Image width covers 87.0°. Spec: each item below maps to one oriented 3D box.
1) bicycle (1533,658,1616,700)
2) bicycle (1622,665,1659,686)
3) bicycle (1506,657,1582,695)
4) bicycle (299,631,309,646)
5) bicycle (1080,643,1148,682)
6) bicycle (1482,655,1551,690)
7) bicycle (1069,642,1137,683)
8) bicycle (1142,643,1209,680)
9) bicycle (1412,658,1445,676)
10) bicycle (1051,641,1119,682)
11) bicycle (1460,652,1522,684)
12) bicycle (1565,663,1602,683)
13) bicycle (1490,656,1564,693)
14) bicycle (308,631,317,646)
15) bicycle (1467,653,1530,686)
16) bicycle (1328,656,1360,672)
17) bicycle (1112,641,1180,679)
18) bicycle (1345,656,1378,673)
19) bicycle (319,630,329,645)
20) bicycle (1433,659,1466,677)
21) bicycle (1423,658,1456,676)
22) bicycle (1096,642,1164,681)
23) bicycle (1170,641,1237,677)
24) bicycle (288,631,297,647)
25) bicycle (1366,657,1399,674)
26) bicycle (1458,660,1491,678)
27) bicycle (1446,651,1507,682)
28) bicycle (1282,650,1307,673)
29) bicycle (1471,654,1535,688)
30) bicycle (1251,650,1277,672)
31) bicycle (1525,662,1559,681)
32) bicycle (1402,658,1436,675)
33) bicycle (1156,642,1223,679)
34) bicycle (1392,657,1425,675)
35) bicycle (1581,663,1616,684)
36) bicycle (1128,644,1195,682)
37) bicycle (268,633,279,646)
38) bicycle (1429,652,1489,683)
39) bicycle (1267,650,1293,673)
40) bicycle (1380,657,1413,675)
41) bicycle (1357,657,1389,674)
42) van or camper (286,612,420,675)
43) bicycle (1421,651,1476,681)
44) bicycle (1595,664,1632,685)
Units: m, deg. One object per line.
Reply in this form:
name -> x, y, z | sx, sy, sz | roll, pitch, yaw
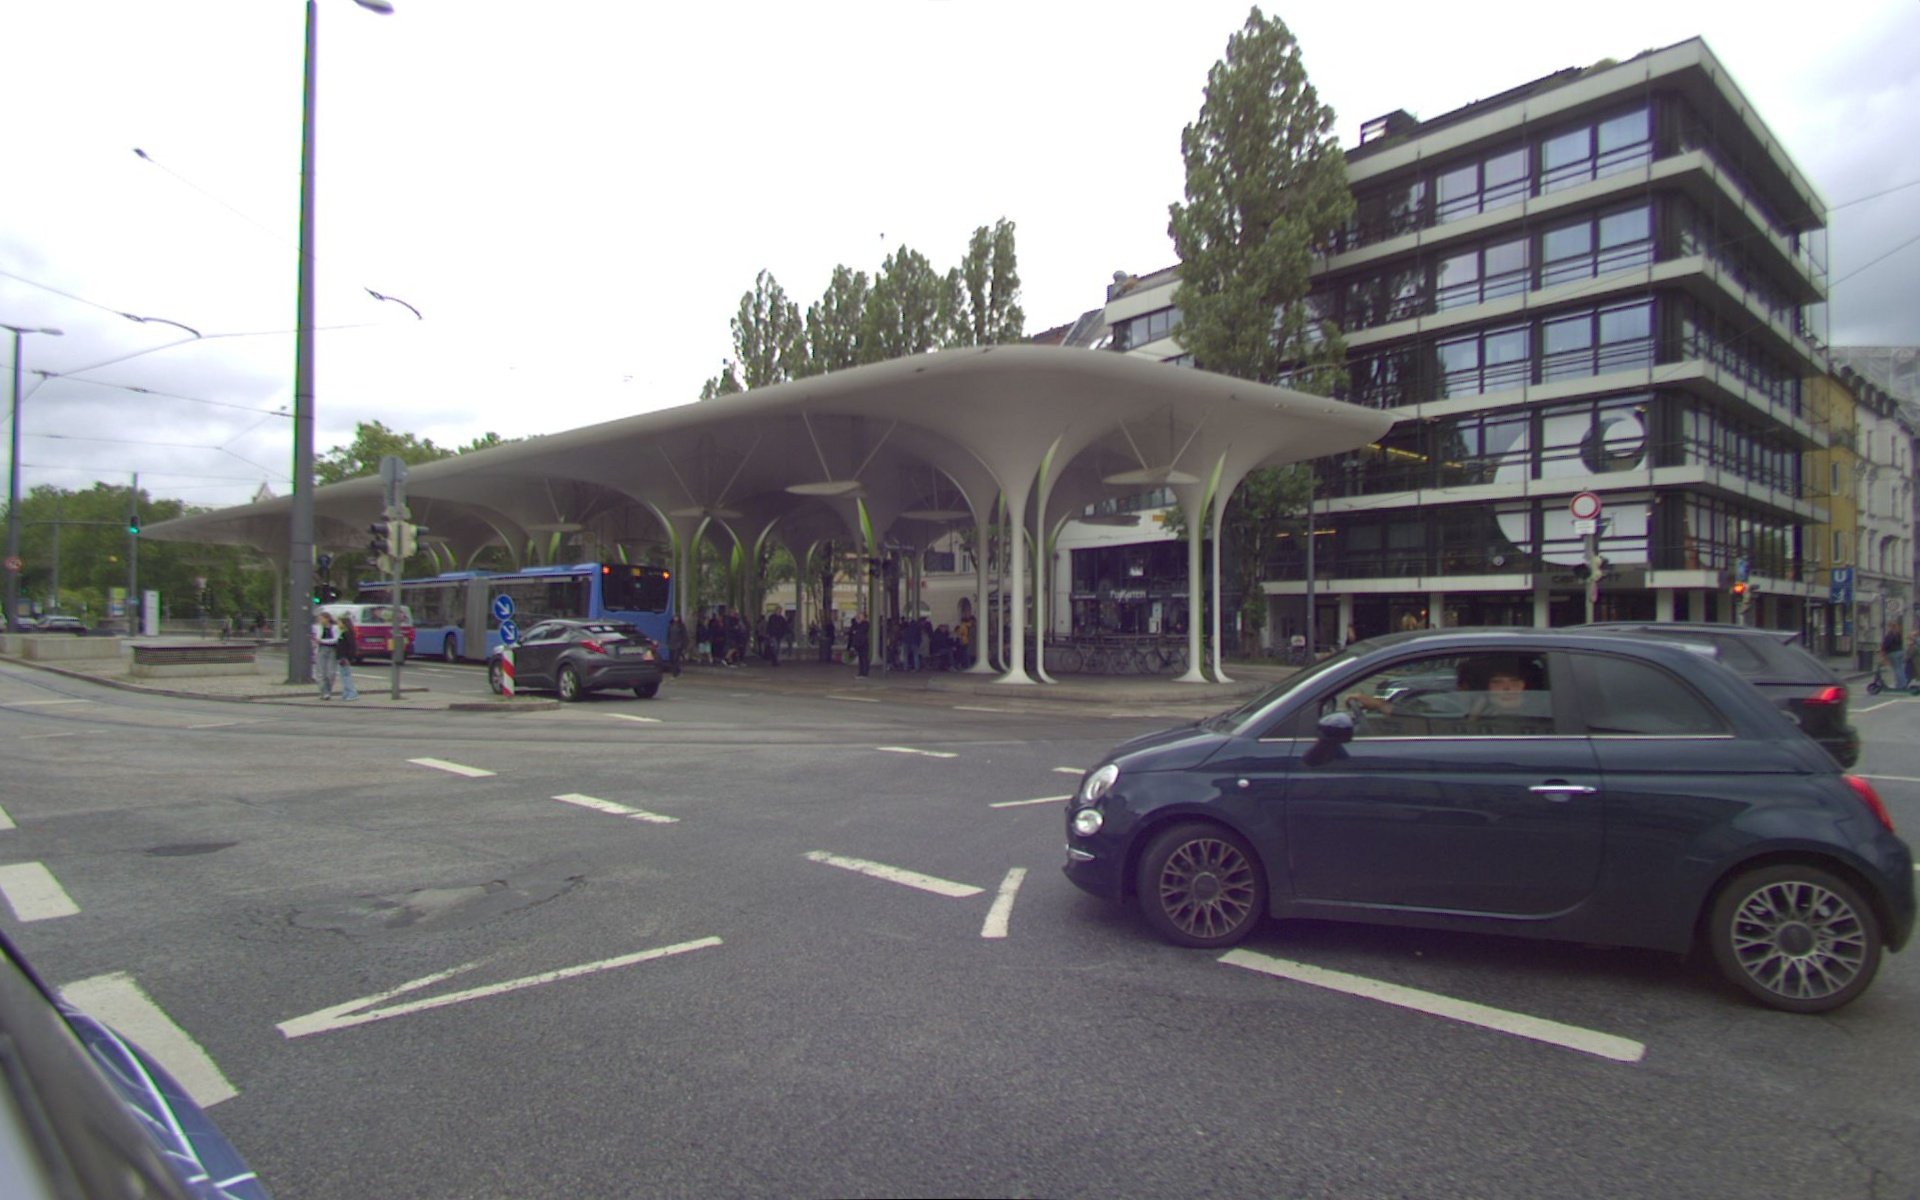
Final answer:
bicycle -> 15.389, 1.972, 25.386 | 1.719, 0.946, 0.452 | 1, -1, 21
bicycle -> 22.086, 2.441, 32.827 | 1.607, 0.637, 0.430 | 1, -2, -34
bicycle -> 15.816, 2.051, 27.441 | 1.719, 0.946, 0.451 | 1, -1, 22
bicycle -> -48.324, 2.832, 74.551 | 0.472, 1.104, 1.854 | 1, -2, -35
bicycle -> 4.664, 1.878, 30.743 | 0.645, 1.127, 2.186 | 1, -2, -39
bicycle -> 16.008, 2.083, 29.104 | 1.707, 0.946, 0.455 | 1, -1, 1
bicycle -> 4.247, 1.850, 30.254 | 0.633, 1.133, 2.169 | 1, -2, -39
bicycle -> 6.891, 1.953, 32.424 | 0.645, 1.127, 2.186 | 1, -2, -39
bicycle -> 17.745, 2.533, 38.336 | 1.607, 0.637, 0.364 | 1, -2, -34
bicycle -> 3.676, 1.796, 29.913 | 0.633, 1.133, 2.169 | 1, -2, -39
bicycle -> 16.215, 2.073, 30.896 | 1.704, 0.946, 0.456 | 1, -1, -7
bicycle -> 21.076, 2.462, 34.183 | 1.607, 0.637, 0.430 | 1, -2, -34
bicycle -> 15.664, 2.054, 27.988 | 1.718, 0.946, 0.452 | 1, -1, 20
bicycle -> -47.924, 2.821, 74.881 | 0.472, 1.104, 1.854 | 1, -2, -35
bicycle -> 16.150, 2.076, 30.354 | 1.704, 0.946, 0.456 | 1, -1, -7
bicycle -> 15.540, 2.580, 40.946 | 1.607, 0.637, 0.364 | 1, -2, -34
bicycle -> 5.772, 1.848, 31.562 | 0.645, 1.127, 2.186 | 1, -2, -39
bicycle -> 16.000, 2.570, 40.331 | 1.607, 0.637, 0.364 | 1, -2, -34
bicycle -> -47.310, 2.805, 75.293 | 0.472, 1.104, 1.854 | 1, -2, -35
bicycle -> 18.221, 2.523, 37.657 | 1.607, 0.637, 0.364 | 1, -2, -34
bicycle -> 18.013, 2.527, 38.001 | 1.607, 0.637, 0.364 | 1, -2, -34
bicycle -> 5.205, 1.863, 31.146 | 0.645, 1.127, 2.186 | 1, -2, -39
bicycle -> 7.980, 1.924, 33.230 | 0.645, 1.127, 2.186 | 1, -2, -39
bicycle -> -48.851, 2.846, 74.100 | 0.472, 1.104, 1.854 | 1, -2, -35
bicycle -> 16.545, 2.559, 39.645 | 1.607, 0.637, 0.364 | 1, -2, -34
bicycle -> 18.803, 2.510, 36.973 | 1.607, 0.637, 0.364 | 1, -2, -34
bicycle -> 16.134, 2.074, 31.599 | 1.705, 0.946, 0.455 | 1, -1, -5
bicycle -> 14.328, 2.634, 43.335 | 0.449, 0.933, 1.804 | -1, -2, 39
bicycle -> 15.966, 2.082, 29.758 | 1.704, 0.946, 0.456 | 1, -1, -7
bicycle -> 13.332, 2.655, 44.353 | 0.449, 0.933, 1.804 | -1, -2, 39
bicycle -> 20.272, 2.479, 35.240 | 1.607, 0.637, 0.364 | 1, -2, -34
bicycle -> 17.529, 2.537, 38.641 | 1.607, 0.637, 0.364 | 1, -2, -34
bicycle -> 7.421, 1.939, 32.807 | 0.645, 1.127, 2.186 | 1, -2, -39
bicycle -> 17.254, 2.543, 38.946 | 1.607, 0.637, 0.364 | 1, -2, -34
bicycle -> 21.332, 2.457, 33.819 | 1.607, 0.637, 0.364 | 1, -2, -34
bicycle -> 6.362, 1.967, 32.024 | 0.645, 1.127, 2.186 | 1, -2, -39
bicycle -> -49.775, 2.855, 73.366 | 0.473, 0.901, 1.852 | 1, -2, -41
bicycle -> 15.822, 2.134, 32.078 | 1.705, 0.946, 0.455 | 1, -1, -5
bicycle -> 13.825, 2.645, 43.719 | 0.449, 0.933, 1.804 | -1, -2, 39
bicycle -> 16.896, 2.551, 39.187 | 1.607, 0.637, 0.364 | 1, -2, -34
bicycle -> 16.309, 2.564, 39.945 | 1.607, 0.637, 0.364 | 1, -2, -34
van or camper -> -19.486, 1.374, 32.375 | 5.435, 1.840, 1.909 | -1, -3, 39
bicycle -> 15.821, 2.133, 32.795 | 1.702, 0.946, 0.456 | 1, -1, -14
bicycle -> 21.595, 2.451, 33.426 | 1.607, 0.637, 0.430 | 1, -2, -34
